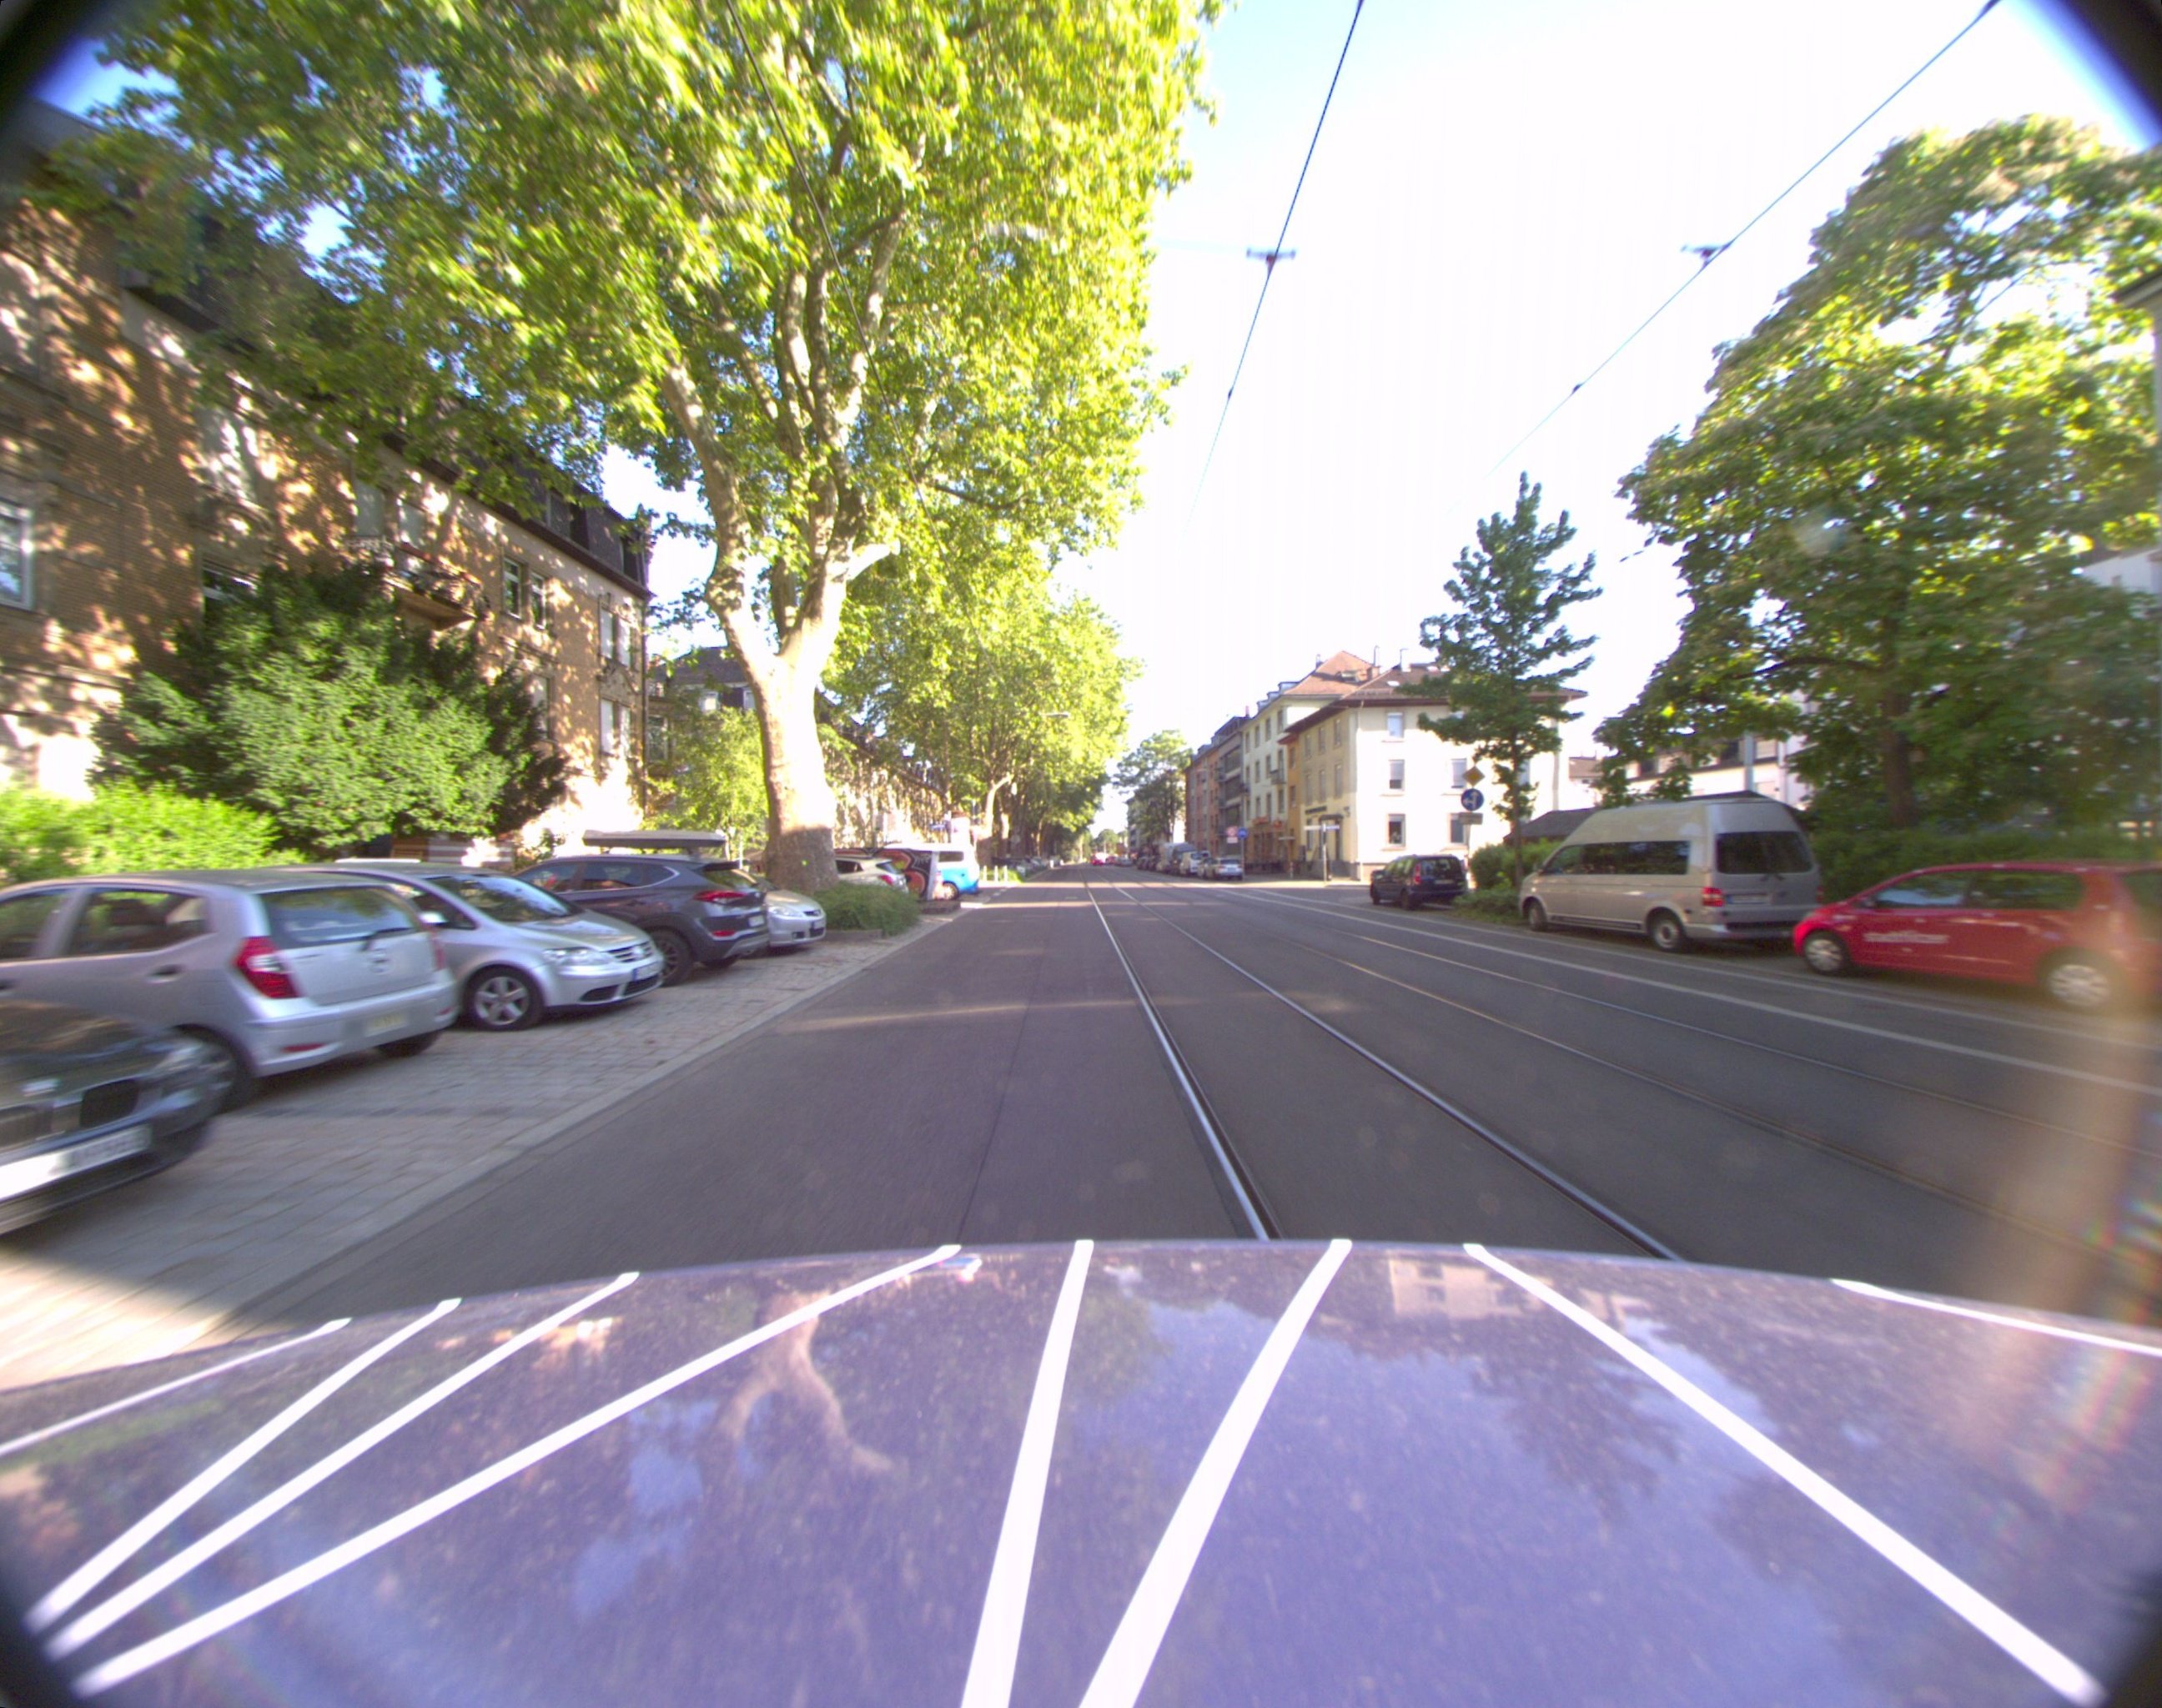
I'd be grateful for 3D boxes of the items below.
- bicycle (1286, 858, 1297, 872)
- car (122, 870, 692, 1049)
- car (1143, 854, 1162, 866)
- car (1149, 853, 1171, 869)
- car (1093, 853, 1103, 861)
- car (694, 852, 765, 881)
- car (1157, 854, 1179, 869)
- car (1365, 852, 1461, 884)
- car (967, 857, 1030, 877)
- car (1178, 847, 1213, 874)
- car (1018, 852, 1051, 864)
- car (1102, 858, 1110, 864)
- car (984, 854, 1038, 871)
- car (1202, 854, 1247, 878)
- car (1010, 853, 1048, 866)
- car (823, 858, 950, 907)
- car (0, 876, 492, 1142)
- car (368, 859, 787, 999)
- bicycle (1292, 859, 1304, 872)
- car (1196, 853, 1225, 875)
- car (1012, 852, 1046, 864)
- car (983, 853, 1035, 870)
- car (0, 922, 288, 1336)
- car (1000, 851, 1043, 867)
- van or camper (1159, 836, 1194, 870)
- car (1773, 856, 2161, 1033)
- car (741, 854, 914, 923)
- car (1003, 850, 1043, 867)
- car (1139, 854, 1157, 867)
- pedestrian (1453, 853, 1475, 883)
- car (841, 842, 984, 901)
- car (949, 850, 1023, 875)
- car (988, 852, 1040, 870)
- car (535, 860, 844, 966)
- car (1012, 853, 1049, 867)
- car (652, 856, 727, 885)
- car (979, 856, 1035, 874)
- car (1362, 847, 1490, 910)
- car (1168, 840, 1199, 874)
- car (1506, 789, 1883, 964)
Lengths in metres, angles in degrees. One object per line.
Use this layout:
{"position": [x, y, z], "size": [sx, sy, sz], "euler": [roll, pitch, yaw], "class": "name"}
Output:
{"position": [15.132, 0.791, 54.623], "size": [0.362, 0.923, 1.647], "euler": [0, 0, 0], "class": "bicycle"}
{"position": [-6.550, 0.975, 7.746], "size": [4.210, 1.565, 1.818], "euler": [0, 0, 2], "class": "car"}
{"position": [8.941, 0.709, 95.361], "size": [1.791, 1.462, 4.434], "euler": [-1, 0, -2], "class": "car"}
{"position": [8.847, 0.780, 85.314], "size": [1.791, 1.743, 4.434], "euler": [-1, 0, -2], "class": "car"}
{"position": [3.335, 0.584, 150.241], "size": [1.769, 1.448, 3.585], "euler": [0, 0, 0], "class": "car"}
{"position": [-19.818, 0.693, 43.047], "size": [1.728, 1.573, 4.003], "euler": [0, 0, 9], "class": "car"}
{"position": [9.069, 0.733, 79.756], "size": [1.791, 1.506, 3.472], "euler": [-1, 0, -2], "class": "car"}
{"position": [16.975, 0.714, 38.975], "size": [4.071, 1.608, 1.966], "euler": [0, 0, 3], "class": "car"}
{"position": [-6.340, 0.989, 58.947], "size": [4.611, 1.485, 1.893], "euler": [0, 0, 2], "class": "car"}
{"position": [9.065, 0.492, 60.578], "size": [1.928, 2.034, 4.940], "euler": [-1, 0, -2], "class": "car"}
{"position": [-6.817, 0.599, 111.231], "size": [4.611, 1.705, 1.893], "euler": [0, 0, 2], "class": "car"}
{"position": [6.055, 1.656, 183.527], "size": [1.769, 1.448, 3.585], "euler": [0, 0, 0], "class": "car"}
{"position": [-6.165, 0.746, 67.217], "size": [4.611, 1.485, 1.893], "euler": [0, 0, 2], "class": "car"}
{"position": [9.369, 0.747, 50.025], "size": [1.776, 1.484, 4.939], "euler": [-2, 0, -3], "class": "car"}
{"position": [-6.613, 0.702, 96.603], "size": [4.611, 1.631, 1.893], "euler": [0, 0, 2], "class": "car"}
{"position": [-6.399, 0.927, 25.346], "size": [3.792, 1.479, 1.790], "euler": [1, 0, -3], "class": "car"}
{"position": [-7.093, 0.973, 5.537], "size": [4.210, 1.546, 1.818], "euler": [0, 0, 2], "class": "car"}
{"position": [-6.363, 0.898, 10.044], "size": [4.212, 1.609, 1.878], "euler": [0, 0, -3], "class": "car"}
{"position": [15.125, 0.804, 52.912], "size": [0.362, 0.923, 1.647], "euler": [0, 0, 0], "class": "bicycle"}
{"position": [9.335, 0.722, 54.800], "size": [1.575, 1.484, 2.882], "euler": [-1, 0, 0], "class": "car"}
{"position": [-7.263, 0.602, 106.590], "size": [4.611, 1.705, 1.893], "euler": [0, 0, 2], "class": "car"}
{"position": [-6.586, 0.700, 69.775], "size": [4.611, 1.557, 1.893], "euler": [0, 0, 2], "class": "car"}
{"position": [-6.116, 1.080, 2.895], "size": [4.211, 1.439, 1.817], "euler": [0, 0, -1], "class": "car"}
{"position": [-6.641, 0.554, 84.859], "size": [4.611, 1.781, 1.893], "euler": [0, 0, 2], "class": "car"}
{"position": [9.138, -0.101, 73.380], "size": [2.423, 2.960, 5.990], "euler": [-4, 0, 0], "class": "van or camper"}
{"position": [10.346, 0.809, 8.555], "size": [1.689, 1.530, 3.707], "euler": [0, 0, -1], "class": "car"}
{"position": [-6.349, 0.841, 19.346], "size": [3.792, 1.609, 1.790], "euler": [1, 0, -3], "class": "car"}
{"position": [-6.944, 0.515, 91.078], "size": [4.636, 2.001, 1.893], "euler": [0, 0, 2], "class": "car"}
{"position": [8.771, 0.840, 100.263], "size": [1.791, 1.660, 4.434], "euler": [-1, 0, -2], "class": "car"}
{"position": [20.423, 0.746, 40.545], "size": [0.775, 1.578, 0.752], "euler": [-1, 4, 2], "class": "pedestrian"}
{"position": [-6.114, 0.627, 28.118], "size": [4.859, 2.002, 2.193], "euler": [1, 0, -4], "class": "car"}
{"position": [-6.414, 0.564, 51.702], "size": [4.810, 1.621, 1.893], "euler": [0, 0, 0], "class": "car"}
{"position": [-6.307, 0.646, 71.748], "size": [4.611, 1.631, 1.893], "euler": [0, 0, 2], "class": "car"}
{"position": [-6.359, 0.921, 12.692], "size": [4.210, 1.609, 1.818], "euler": [0, 0, 2], "class": "car"}
{"position": [-6.538, 0.727, 99.239], "size": [4.611, 1.781, 1.893], "euler": [0, 0, 2], "class": "car"}
{"position": [-22.315, 0.887, 43.464], "size": [1.728, 1.573, 4.003], "euler": [0, 0, 9], "class": "car"}
{"position": [-6.305, 0.943, 65.053], "size": [4.611, 1.485, 1.893], "euler": [0, 0, 2], "class": "car"}
{"position": [10.124, 0.662, 22.706], "size": [1.997, 1.680, 4.261], "euler": [0, 0, 2], "class": "car"}
{"position": [8.935, 0.214, 66.540], "size": [1.928, 2.730, 4.546], "euler": [-4, 0, 0], "class": "car"}
{"position": [10.332, 0.317, 13.608], "size": [2.310, 2.493, 5.342], "euler": [0, 0, -2], "class": "car"}
